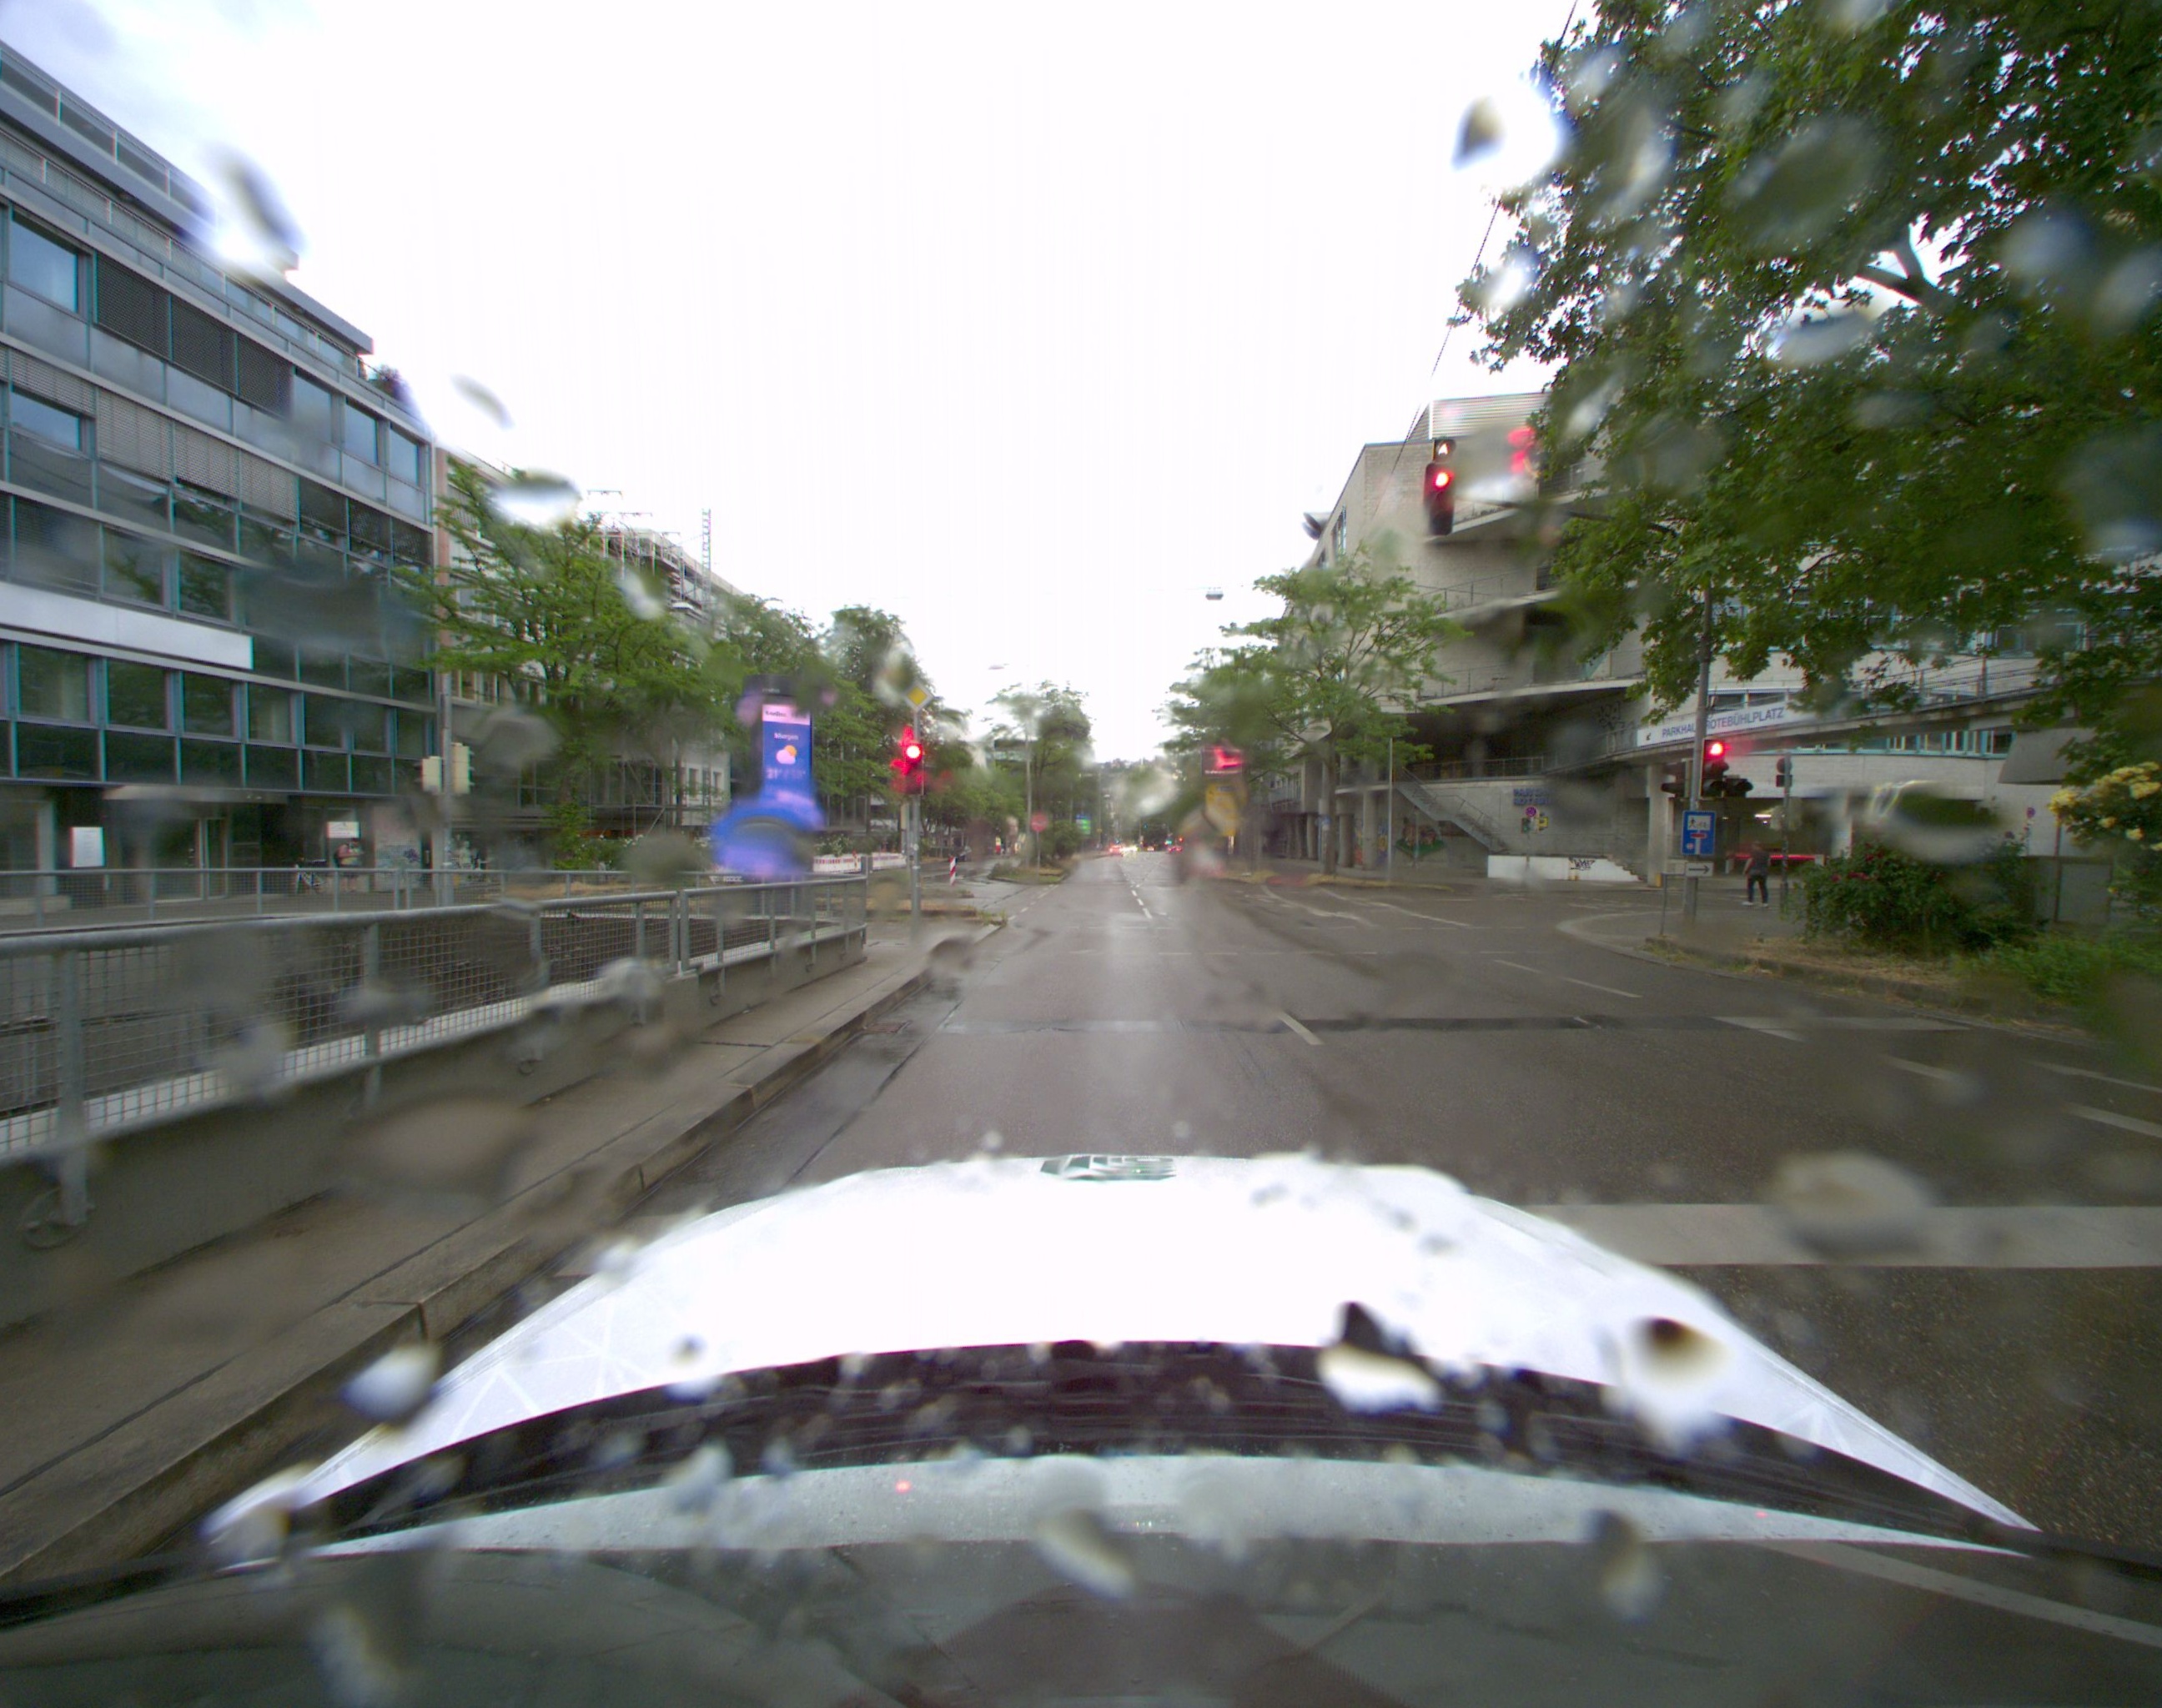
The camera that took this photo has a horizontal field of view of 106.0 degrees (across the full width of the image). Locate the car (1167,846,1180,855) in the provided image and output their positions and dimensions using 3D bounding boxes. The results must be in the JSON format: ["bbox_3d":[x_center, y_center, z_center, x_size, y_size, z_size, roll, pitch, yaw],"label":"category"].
[{"bbox_3d":[17.633,-0.635,155.428,1.986,1.723,4.001,0,-1,1],"label":"car"}]

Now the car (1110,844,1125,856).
[{"bbox_3d":[5.389,-0.601,120.205,1.819,1.640,4.308,1,0,6],"label":"car"}]

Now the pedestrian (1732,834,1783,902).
[{"bbox_3d":[19.307,0.389,23.240,0.843,1.910,0.758,0,0,1],"label":"pedestrian"}]

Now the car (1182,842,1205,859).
[{"bbox_3d":[11.538,-0.345,83.352,2.324,1.691,4.010,0,0,9],"label":"car"}]

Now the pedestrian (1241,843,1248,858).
[{"bbox_3d":[21.868,-0.474,108.649,0.772,1.920,0.703,0,-1,1],"label":"pedestrian"}]

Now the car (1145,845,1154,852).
[{"bbox_3d":[19.569,-1.564,232.125,1.989,1.758,3.995,1,0,-4],"label":"car"}]

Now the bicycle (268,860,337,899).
[{"bbox_3d":[-22.952,0.740,24.045,0.444,1.085,1.567,0,0,6],"label":"bicycle"}]

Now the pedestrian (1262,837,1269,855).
[{"bbox_3d":[19.836,-0.882,87.650,0.770,1.920,0.705,-1,-1,11],"label":"pedestrian"}]

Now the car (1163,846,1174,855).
[{"bbox_3d":[17.863,-0.742,166.650,1.986,1.736,4.001,0,-1,2],"label":"car"}]

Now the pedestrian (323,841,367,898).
[{"bbox_3d":[-22.806,0.476,25.245,0.694,1.741,0.694,1,0,-4],"label":"pedestrian"}]
